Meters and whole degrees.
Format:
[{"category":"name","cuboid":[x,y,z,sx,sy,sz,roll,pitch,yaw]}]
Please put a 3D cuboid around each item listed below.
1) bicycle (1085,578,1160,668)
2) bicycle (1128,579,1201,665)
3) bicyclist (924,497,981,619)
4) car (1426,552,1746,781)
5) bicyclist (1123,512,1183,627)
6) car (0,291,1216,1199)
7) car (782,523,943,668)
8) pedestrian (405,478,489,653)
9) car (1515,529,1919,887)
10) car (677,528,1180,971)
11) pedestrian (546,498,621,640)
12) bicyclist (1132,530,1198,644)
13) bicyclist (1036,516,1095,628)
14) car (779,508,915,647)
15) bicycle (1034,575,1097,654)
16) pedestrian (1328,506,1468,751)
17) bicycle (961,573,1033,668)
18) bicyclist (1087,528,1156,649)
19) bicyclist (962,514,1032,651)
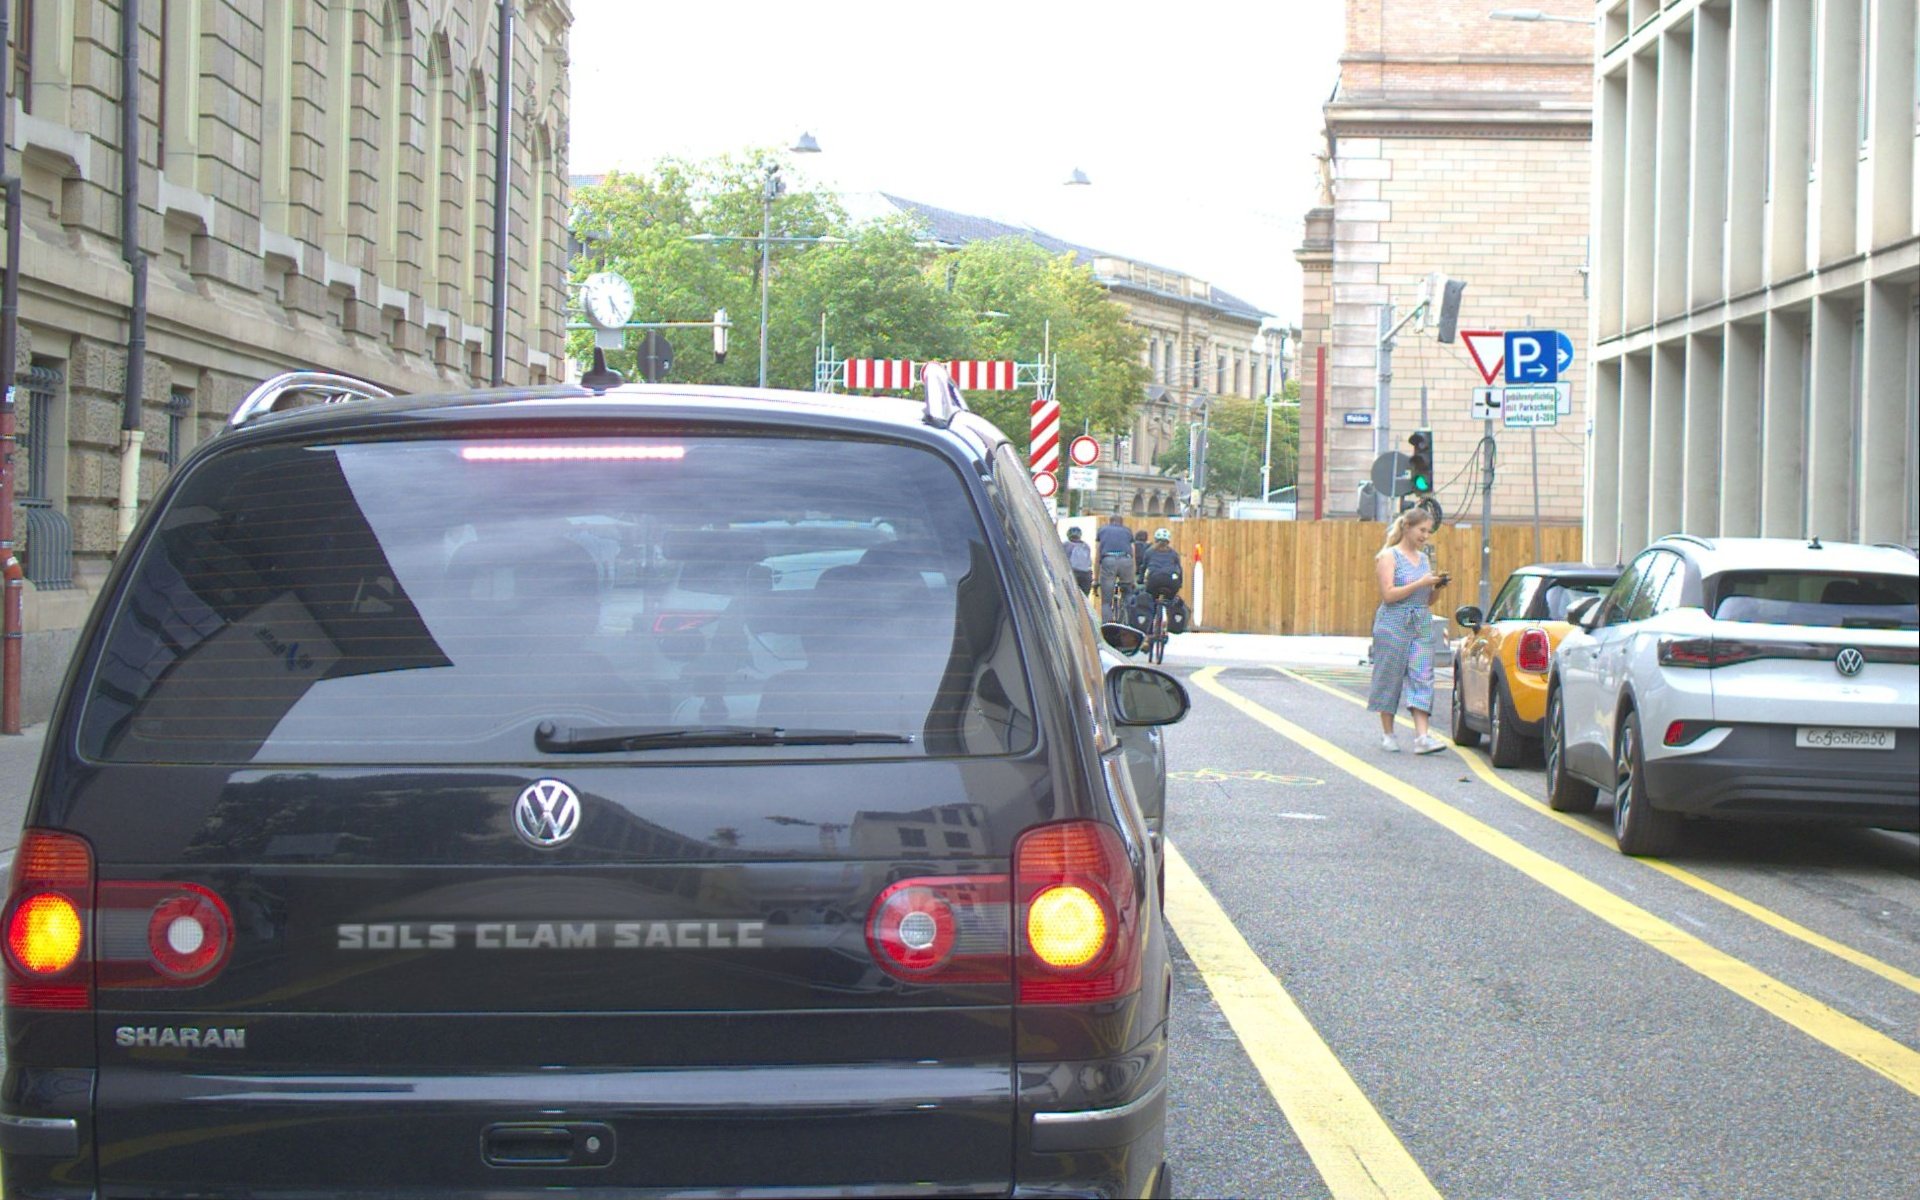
[{"category":"bicycle","cuboid":[1.872,0.255,39.883,0.735,1.005,2.069,1,1,-1]},{"category":"bicycle","cuboid":[2.493,0.252,42.037,0.735,1.005,2.069,1,1,-1]},{"category":"bicyclist","cuboid":[-0.109,-0.561,46.018,0.735,1.606,0.695,1,0,-1]},{"category":"car","cuboid":[4.490,0.425,25.152,1.680,1.430,3.886,4,1,2]},{"category":"bicyclist","cuboid":[2.651,-0.418,47.315,0.735,1.550,0.895,1,0,-1]},{"category":"car","cuboid":[-0.496,0.474,6.626,1.790,1.784,4.103,1,1,2]},{"category":"car","cuboid":[-1.107,-0.070,40.275,1.773,1.580,4.000,1,1,-1]},{"category":"pedestrian","cuboid":[-5.468,-0.365,36.683,0.664,1.813,1.048,3,0,-1]},{"category":"car","cuboid":[4.256,0.504,18.529,1.860,1.599,4.512,4,1,2]},{"category":"car","cuboid":[-0.027,0.484,13.734,1.678,1.464,4.103,1,1,2]},{"category":"pedestrian","cuboid":[-4.961,-0.411,45.360,0.792,1.813,1.048,3,0,-1]},{"category":"bicyclist","cuboid":[2.502,-0.162,42.017,0.735,1.371,0.832,1,0,-1]},{"category":"bicyclist","cuboid":[1.402,-0.373,45.739,0.735,1.465,0.809,1,0,-1]},{"category":"car","cuboid":[-1.593,-0.319,47.277,1.734,1.784,4.104,1,1,-3]},{"category":"bicycle","cuboid":[1.389,0.182,45.558,0.735,1.005,2.069,1,1,-1]},{"category":"pedestrian","cuboid":[3.200,0.200,25.105,0.703,1.757,0.700,1,0,-35]},{"category":"bicycle","cuboid":[0.397,0.213,37.857,0.735,1.005,2.069,1,1,-1]},{"category":"bicyclist","cuboid":[1.877,-0.137,39.954,0.735,1.372,0.829,1,0,-1]},{"category":"bicyclist","cuboid":[0.404,-0.197,37.779,0.735,1.473,0.884,1,0,-1]}]
